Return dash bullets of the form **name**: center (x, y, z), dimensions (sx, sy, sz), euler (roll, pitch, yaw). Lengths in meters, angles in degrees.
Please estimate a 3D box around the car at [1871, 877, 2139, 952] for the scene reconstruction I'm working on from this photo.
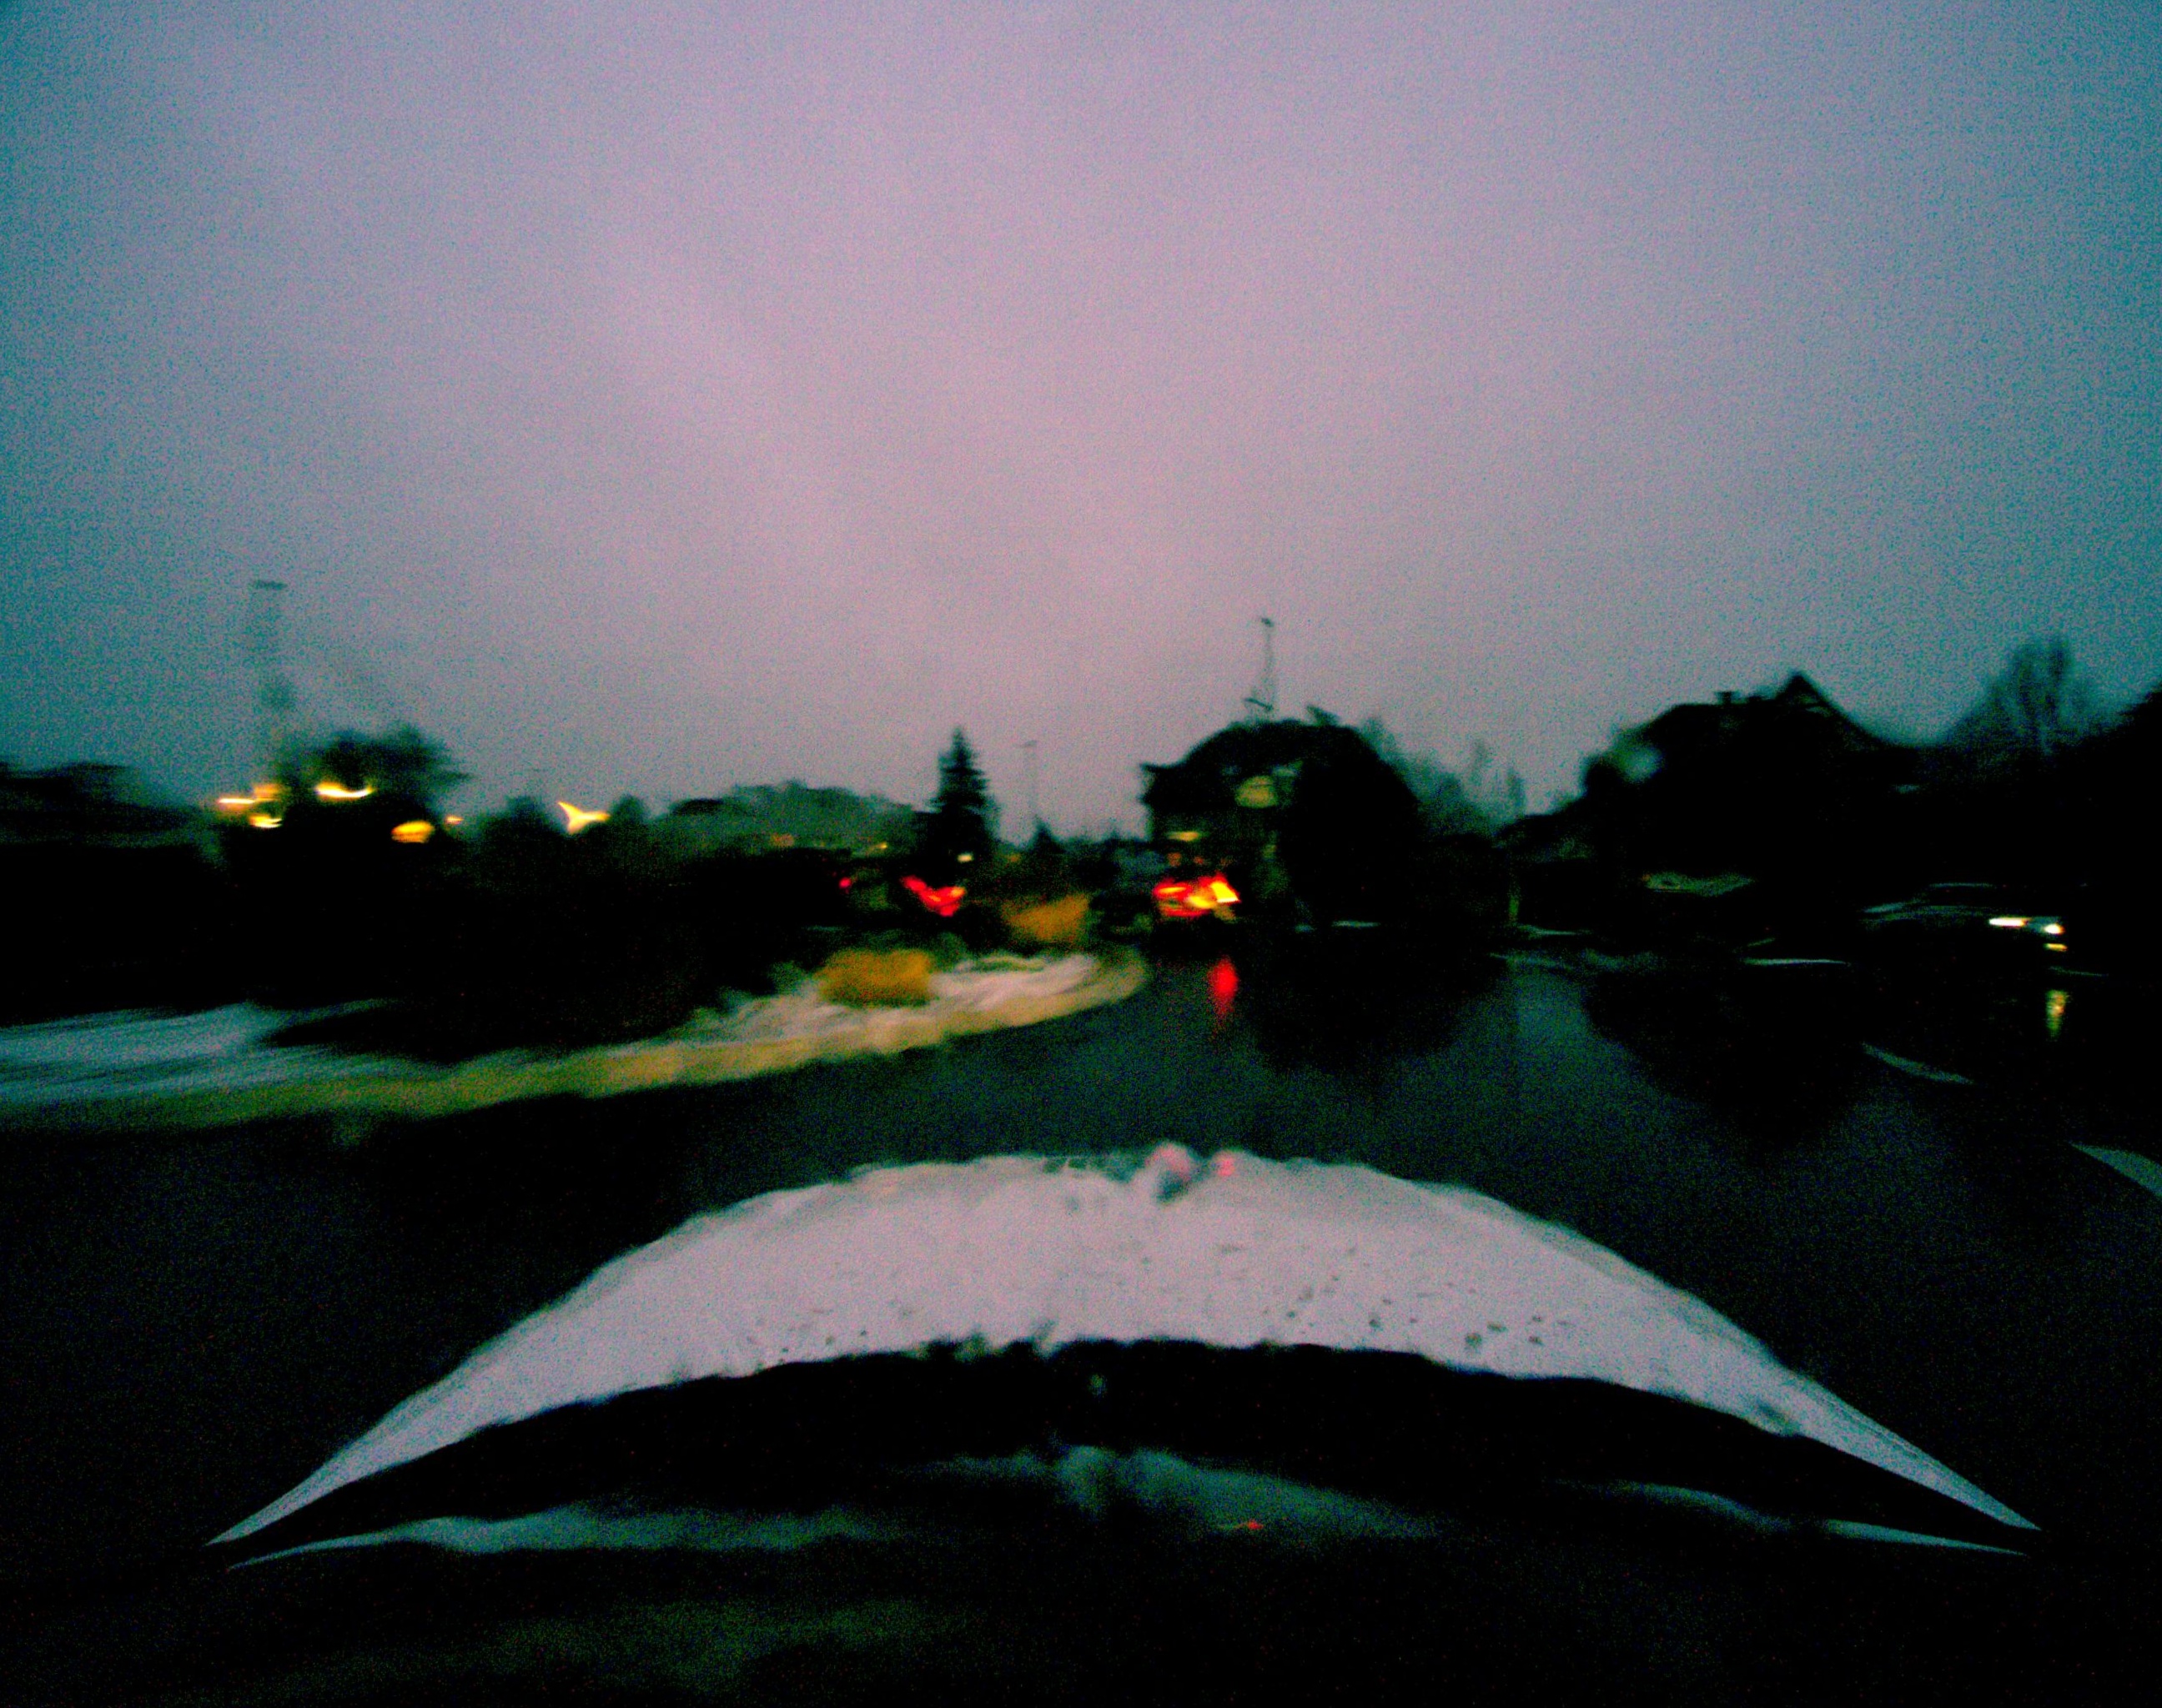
- **car**: center (27.416, 1.730, 24.522), dimensions (1.949, 1.919, 5.182), euler (4, -3, -45)

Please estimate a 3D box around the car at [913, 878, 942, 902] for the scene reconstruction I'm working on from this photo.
- **car**: center (-10.548, 2.480, 55.863), dimensions (1.884, 1.548, 4.551), euler (0, -3, -12)

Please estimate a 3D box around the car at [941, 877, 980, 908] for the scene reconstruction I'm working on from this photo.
- **car**: center (-6.838, 2.174, 45.944), dimensions (1.884, 1.615, 4.551), euler (0, -3, -12)

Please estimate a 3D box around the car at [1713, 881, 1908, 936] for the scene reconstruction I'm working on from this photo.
- **car**: center (27.359, 1.996, 30.733), dimensions (5.264, 1.866, 2.382), euler (-3, -2, 44)

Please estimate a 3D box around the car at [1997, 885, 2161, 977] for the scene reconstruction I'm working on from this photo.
- **car**: center (19.016, 1.355, 14.258), dimensions (3.673, 1.492, 1.668), euler (1, -2, 13)

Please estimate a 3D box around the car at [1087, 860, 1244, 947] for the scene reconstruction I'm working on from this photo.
- **car**: center (1.749, 1.010, 18.259), dimensions (1.951, 1.718, 3.972), euler (1, -1, -21)
